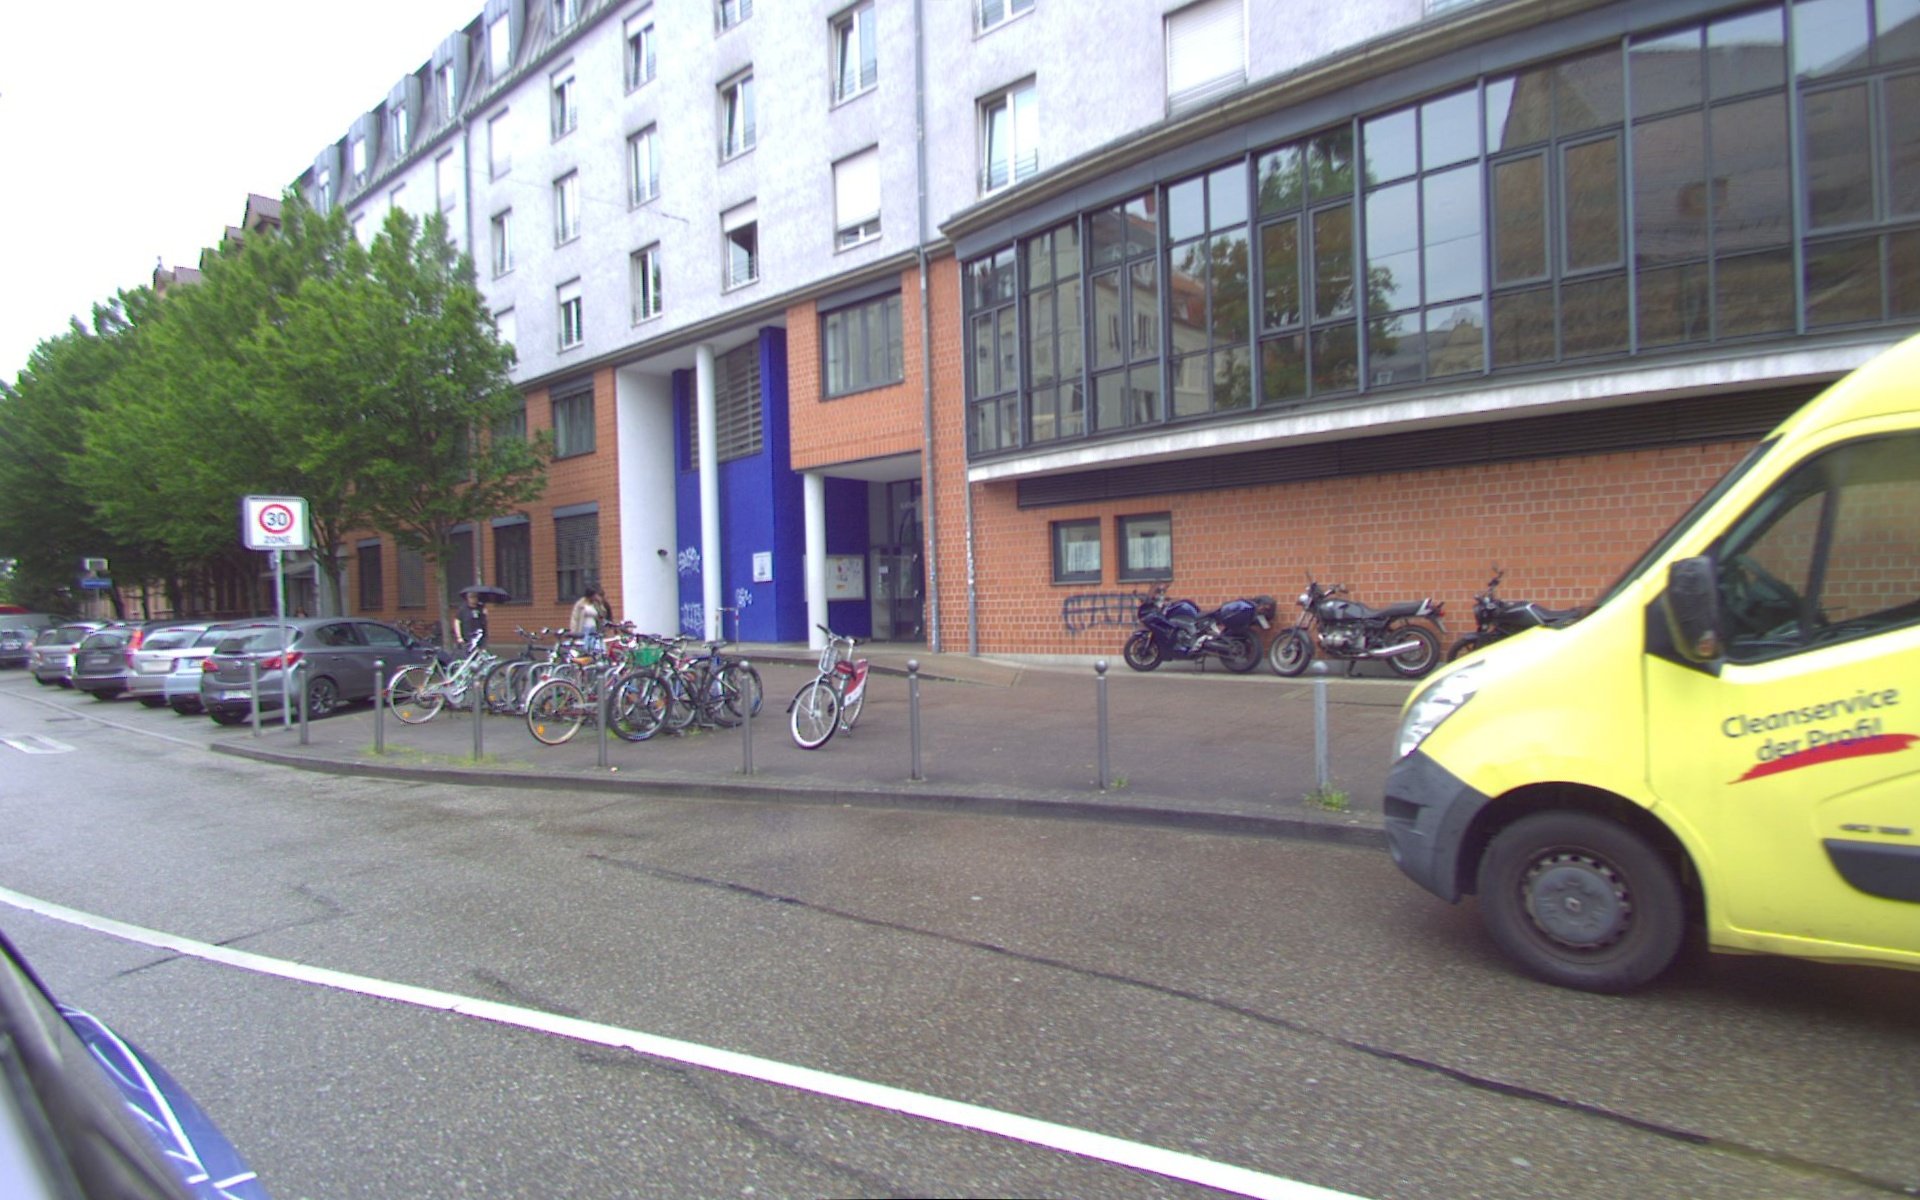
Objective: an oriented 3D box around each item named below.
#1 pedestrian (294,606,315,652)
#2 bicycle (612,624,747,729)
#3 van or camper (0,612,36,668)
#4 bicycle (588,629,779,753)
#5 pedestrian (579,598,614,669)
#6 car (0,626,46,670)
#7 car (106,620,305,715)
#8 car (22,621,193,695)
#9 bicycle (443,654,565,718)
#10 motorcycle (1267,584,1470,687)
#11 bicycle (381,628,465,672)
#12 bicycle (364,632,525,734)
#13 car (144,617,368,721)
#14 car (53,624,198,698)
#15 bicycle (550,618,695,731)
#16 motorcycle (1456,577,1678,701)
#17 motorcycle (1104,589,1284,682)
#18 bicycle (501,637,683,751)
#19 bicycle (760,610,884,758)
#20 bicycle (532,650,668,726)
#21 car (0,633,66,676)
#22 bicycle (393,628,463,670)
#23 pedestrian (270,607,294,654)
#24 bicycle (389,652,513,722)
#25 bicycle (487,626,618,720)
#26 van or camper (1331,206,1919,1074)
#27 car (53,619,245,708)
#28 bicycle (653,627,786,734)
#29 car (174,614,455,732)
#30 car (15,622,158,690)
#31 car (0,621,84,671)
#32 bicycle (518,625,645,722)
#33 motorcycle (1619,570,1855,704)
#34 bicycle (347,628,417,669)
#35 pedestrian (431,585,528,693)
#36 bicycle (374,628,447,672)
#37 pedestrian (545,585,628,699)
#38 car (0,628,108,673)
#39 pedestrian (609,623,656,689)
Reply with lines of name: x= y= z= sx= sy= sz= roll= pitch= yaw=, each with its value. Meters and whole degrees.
pedestrian: x=-23.438 y=1.026 z=36.182 sx=0.425 sy=1.622 sz=0.508 roll=-2 pitch=-1 yaw=42
bicycle: x=-3.326 y=0.882 z=12.048 sx=1.439 sy=1.111 sz=0.462 roll=-3 pitch=1 yaw=-35
van or camper: x=-45.946 y=1.881 z=46.688 sx=1.985 sy=2.632 sz=4.576 roll=-1 pitch=-1 yaw=14
bicycle: x=-2.865 y=0.903 z=10.630 sx=1.832 sy=1.081 sz=0.610 roll=-3 pitch=1 yaw=-44
pedestrian: x=-8.041 y=0.744 z=22.381 sx=0.547 sy=1.541 sz=0.509 roll=-2 pitch=-1 yaw=38
car: x=-41.409 y=2.045 z=42.854 sx=1.554 sy=1.846 sz=4.329 roll=-1 pitch=-1 yaw=0
car: x=-14.179 y=1.205 z=19.219 sx=1.432 sy=1.514 sz=3.078 roll=-2 pitch=0 yaw=1
car: x=-20.735 y=1.377 z=24.752 sx=1.358 sy=1.567 sz=2.970 roll=-2 pitch=0 yaw=12
bicycle: x=-6.363 y=1.182 z=14.172 sx=0.498 sy=0.727 sz=1.454 roll=-1 pitch=1 yaw=44
motorcycle: x=5.010 y=0.435 z=12.525 sx=2.203 sy=1.165 sz=0.643 roll=-2 pitch=0 yaw=40
bicycle: x=-13.216 y=1.224 z=24.968 sx=0.444 sy=0.992 sz=1.830 roll=-2 pitch=-1 yaw=33
bicycle: x=-6.631 y=1.035 z=13.107 sx=0.472 sy=1.114 sz=1.791 roll=-2 pitch=1 yaw=36
car: x=-12.107 y=1.131 z=17.630 sx=1.436 sy=1.514 sz=3.069 roll=-2 pitch=0 yaw=10
car: x=-18.938 y=1.345 z=23.063 sx=1.177 sy=1.461 sz=2.501 roll=-2 pitch=0 yaw=1
bicycle: x=-4.109 y=0.870 z=12.460 sx=0.518 sy=1.203 sz=1.797 roll=-2 pitch=1 yaw=28
motorcycle: x=6.399 y=0.391 z=10.808 sx=0.516 sy=1.190 sz=2.010 roll=-3 pitch=0 yaw=-29
motorcycle: x=3.179 y=0.475 z=13.939 sx=2.273 sy=1.165 sz=0.827 roll=-2 pitch=0 yaw=43
bicycle: x=-3.865 y=0.950 z=10.752 sx=0.519 sy=1.000 sz=1.778 roll=-2 pitch=1 yaw=39
bicycle: x=-1.319 y=0.774 z=10.106 sx=0.761 sy=1.225 sz=1.917 roll=-1 pitch=3 yaw=6
bicycle: x=-4.531 y=1.083 z=12.865 sx=0.455 sy=0.767 sz=1.756 roll=-2 pitch=1 yaw=28
car: x=-35.617 y=2.022 z=37.710 sx=1.663 sy=1.502 sz=3.798 roll=-1 pitch=-1 yaw=-9
bicycle: x=-13.656 y=1.238 z=26.013 sx=0.444 sy=0.992 sz=1.573 roll=-2 pitch=-1 yaw=33
pedestrian: x=-23.906 y=1.071 z=35.684 sx=0.372 sy=1.622 sz=0.598 roll=-2 pitch=-1 yaw=40
bicycle: x=-7.137 y=1.195 z=14.236 sx=0.498 sy=0.811 sz=1.454 roll=-1 pitch=1 yaw=44
bicycle: x=-5.503 y=0.958 z=13.748 sx=0.519 sy=1.114 sz=1.591 roll=-2 pitch=1 yaw=36
van or camper: x=4.533 y=0.088 z=3.131 sx=5.936 sy=2.631 sz=2.174 roll=-2 pitch=-1 yaw=40
car: x=-16.569 y=1.247 z=20.865 sx=1.432 sy=1.564 sz=3.078 roll=-2 pitch=0 yaw=1
bicycle: x=-2.726 y=0.886 z=11.560 sx=0.418 sy=1.072 sz=1.442 roll=-1 pitch=1 yaw=45
car: x=-9.839 y=1.039 z=15.782 sx=1.721 sy=1.514 sz=3.613 roll=-1 pitch=1 yaw=10
car: x=-22.862 y=1.421 z=26.572 sx=1.138 sy=1.567 sz=2.672 roll=-2 pitch=0 yaw=12
car: x=-38.275 y=1.842 z=41.117 sx=1.666 sy=1.910 sz=4.329 roll=-1 pitch=-1 yaw=0
bicycle: x=-4.963 y=0.935 z=13.376 sx=0.518 sy=1.114 sz=1.596 roll=-2 pitch=1 yaw=28
motorcycle: x=7.629 y=0.342 z=10.031 sx=0.516 sy=1.190 sz=1.763 roll=-3 pitch=0 yaw=-29
bicycle: x=-15.089 y=1.256 z=26.452 sx=0.444 sy=0.992 sz=1.573 roll=-2 pitch=-1 yaw=33
pedestrian: x=-9.161 y=0.725 z=19.318 sx=1.055 sy=1.894 sz=1.213 roll=-2 pitch=4 yaw=41
bicycle: x=-13.653 y=1.232 z=25.186 sx=0.444 sy=0.992 sz=1.573 roll=-2 pitch=-1 yaw=33
pedestrian: x=-6.051 y=0.669 z=16.408 sx=0.859 sy=1.719 sz=0.817 roll=-2 pitch=3 yaw=42
car: x=-33.133 y=1.809 z=36.744 sx=1.663 sy=1.502 sz=3.798 roll=-1 pitch=-1 yaw=-9
pedestrian: x=-5.622 y=0.955 z=17.354 sx=0.527 sy=1.058 sz=0.479 roll=-2 pitch=3 yaw=40
